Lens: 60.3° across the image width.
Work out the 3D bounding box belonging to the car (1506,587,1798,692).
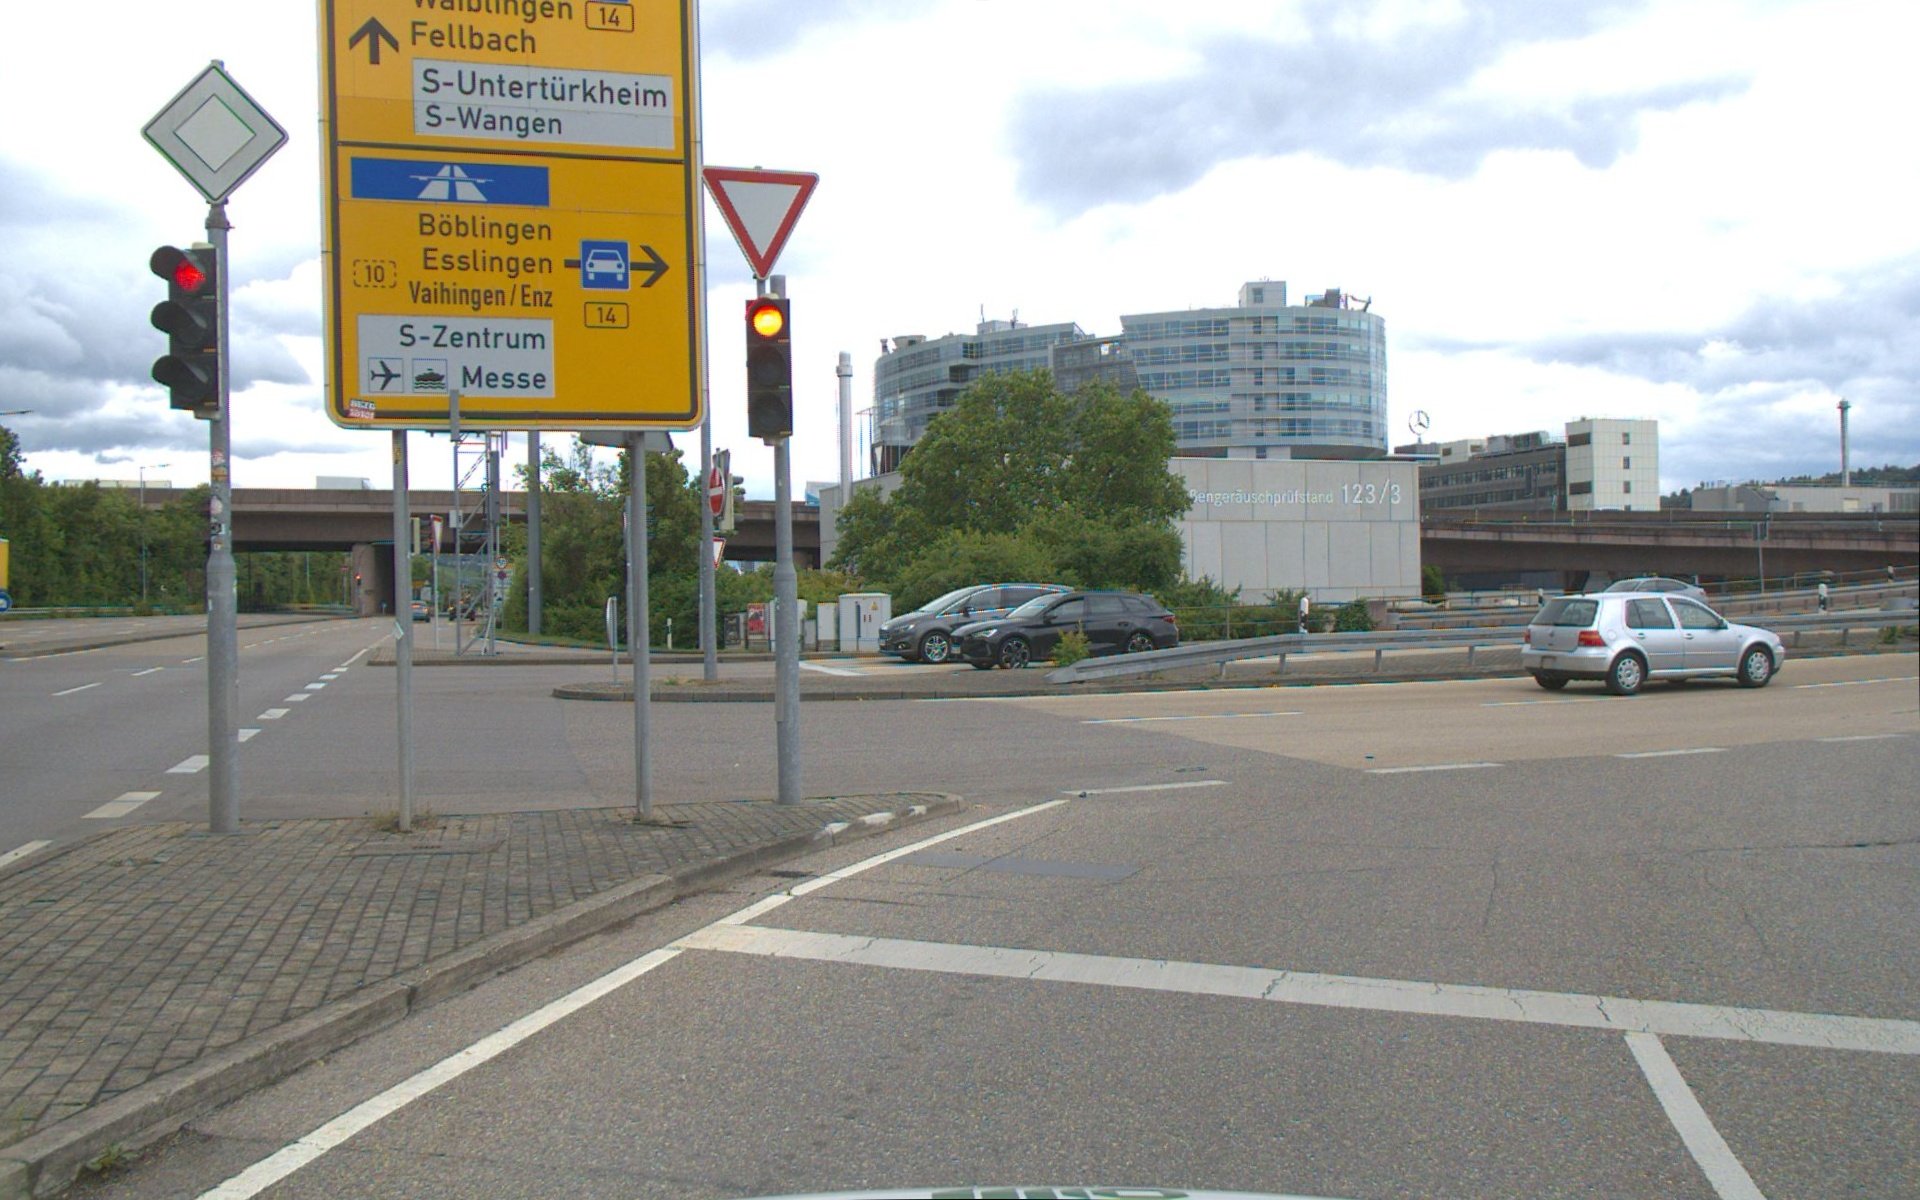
[{"bbox_3d":[10.332,0.545,24.698,3.996,1.425,1.718,-1,1,-22],"label":"car"}]

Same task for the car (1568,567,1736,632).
[{"bbox_3d":[21.025,-0.010,50.253,4.663,1.691,1.904,3,0,-21],"label":"car"}]

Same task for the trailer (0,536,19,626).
[{"bbox_3d":[-45.124,-0.878,73.500,2.824,4.155,11.380,2,0,-15],"label":"trailer"}]

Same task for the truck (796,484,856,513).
[{"bbox_3d":[-11.780,-8.956,145.487,4.953,2.362,2.001,1,0,4],"label":"truck"}]

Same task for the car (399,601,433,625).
[{"bbox_3d":[-35.501,0.864,107.974,1.962,1.467,4.091,1,-2,-17],"label":"car"}]

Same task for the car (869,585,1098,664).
[{"bbox_3d":[0.497,0.500,35.869,4.608,1.599,1.945,0,1,-20],"label":"car"}]

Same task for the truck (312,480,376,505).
[{"bbox_3d":[-60.727,-10.570,163.097,5.509,2.201,1.999,1,0,-2],"label":"truck"}]

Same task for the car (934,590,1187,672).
[{"bbox_3d":[1.953,0.557,32.102,4.540,1.482,1.943,0,1,-22],"label":"car"}]

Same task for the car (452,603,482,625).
[{"bbox_3d":[-36.393,1.038,122.244,1.960,1.490,4.093,1,-2,-15],"label":"car"}]
